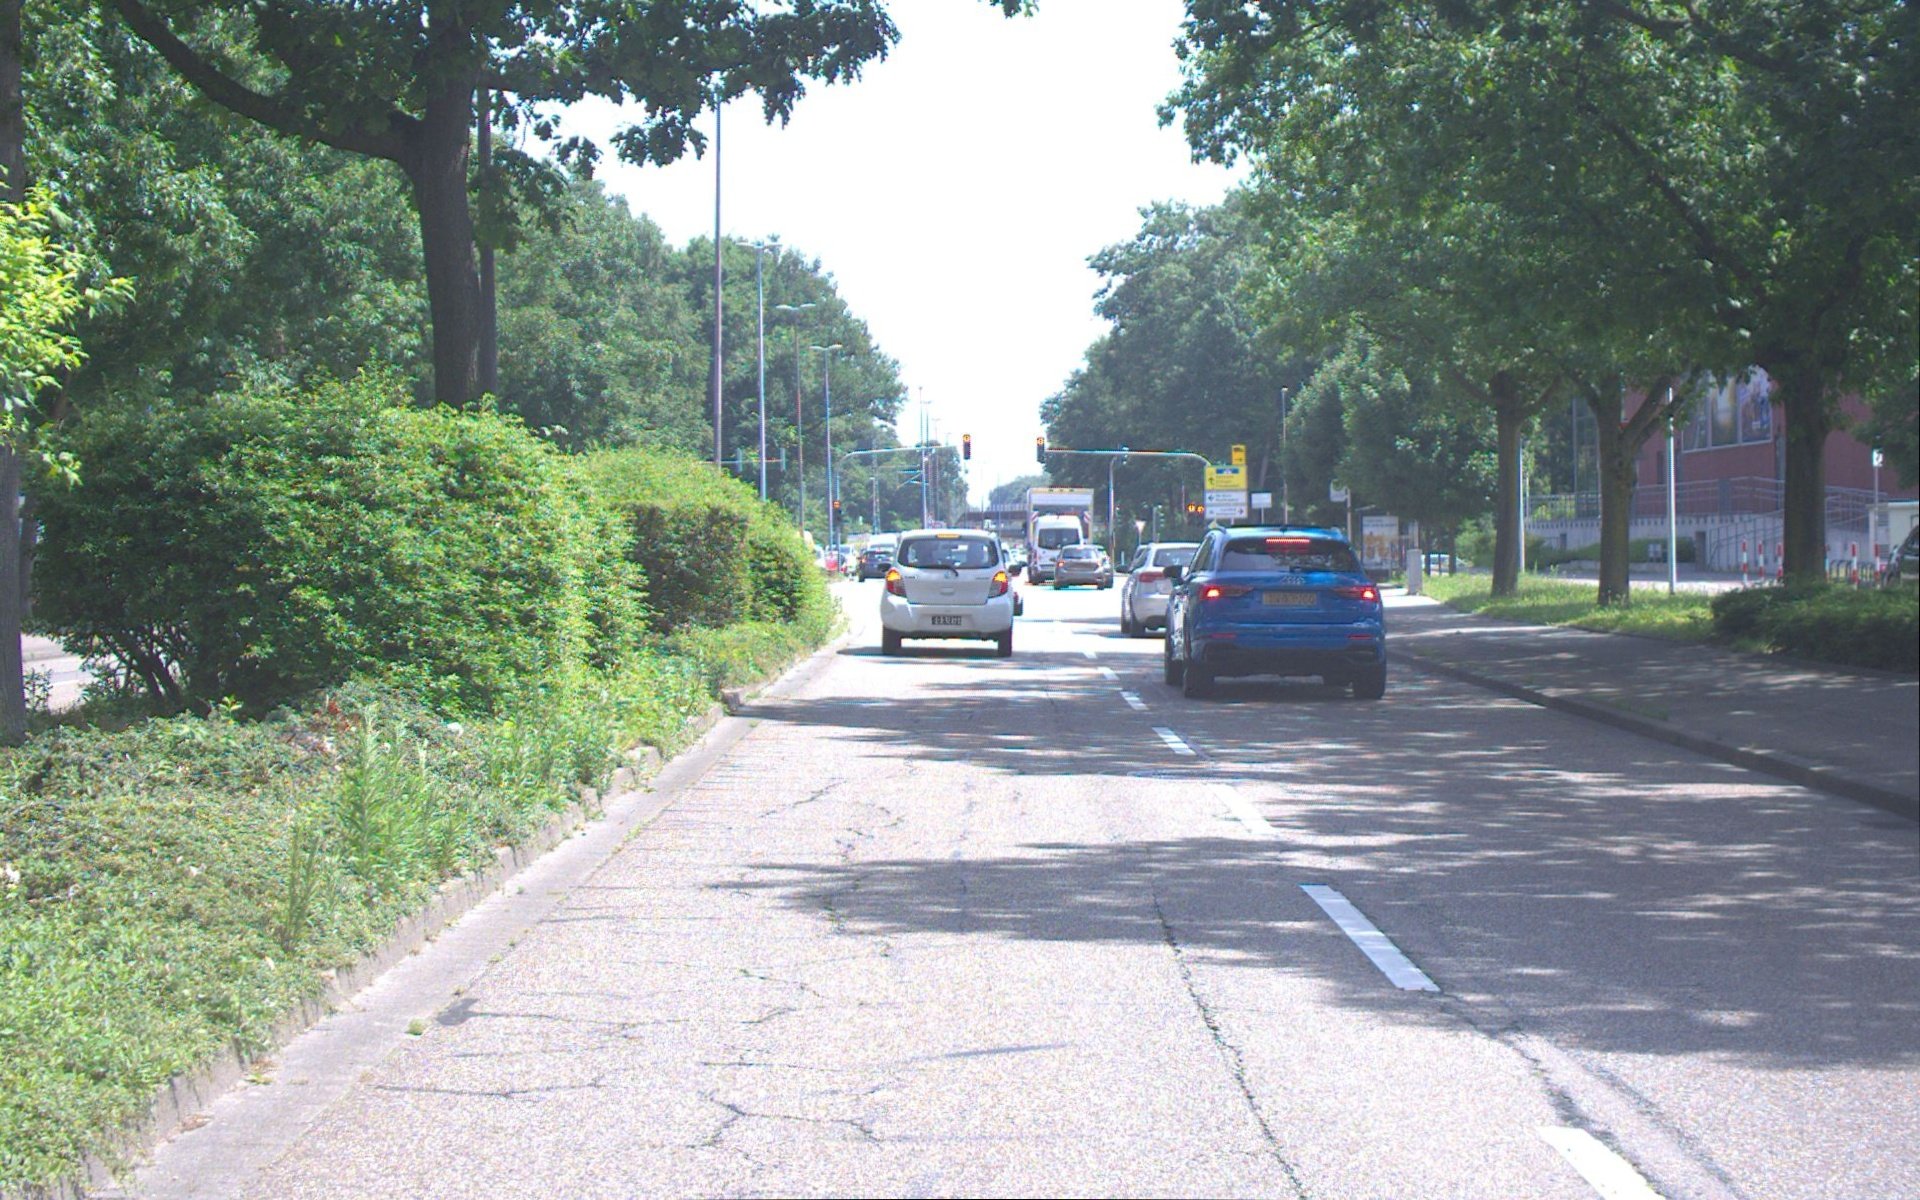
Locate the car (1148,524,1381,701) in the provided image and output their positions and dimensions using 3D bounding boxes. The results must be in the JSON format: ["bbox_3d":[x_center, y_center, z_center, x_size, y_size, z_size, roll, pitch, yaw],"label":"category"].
[{"bbox_3d":[2.840,0.096,32.919,1.808,1.587,4.349,0,0,0],"label":"car"}]

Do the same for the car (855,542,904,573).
[{"bbox_3d":[-3.436,-1.825,147.470,1.993,1.284,4.000,-1,1,0],"label":"car"}]

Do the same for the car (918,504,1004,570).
[{"bbox_3d":[0.005,-1.471,81.289,1.794,1.518,4.001,0,0,-4],"label":"car"}]

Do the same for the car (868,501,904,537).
[{"bbox_3d":[-4.321,-4.699,200.125,1.993,2.007,4.001,-1,1,-3],"label":"car"}]

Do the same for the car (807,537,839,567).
[{"bbox_3d":[-6.138,-2.135,153.721,1.368,1.304,2.694,-1,1,-2],"label":"car"}]

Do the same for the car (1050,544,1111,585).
[{"bbox_3d":[4.065,-1.223,116.443,1.865,1.305,4.000,-1,1,0],"label":"car"}]

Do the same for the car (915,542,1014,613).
[{"bbox_3d":[0.098,-0.449,67.559,1.885,1.349,4.000,0,0,1],"label":"car"}]

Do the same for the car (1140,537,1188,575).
[{"bbox_3d":[7.959,-1.738,134.535,1.633,1.459,4.000,-1,1,0],"label":"car"}]

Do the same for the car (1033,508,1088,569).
[{"bbox_3d":[3.837,-2.369,132.153,1.993,2.248,4.000,-1,1,0],"label":"car"}]

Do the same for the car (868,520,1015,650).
[{"bbox_3d":[-0.265,-0.192,42.730,1.638,1.547,3.325,0,0,-4],"label":"car"}]

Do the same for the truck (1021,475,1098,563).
[{"bbox_3d":[4.062,-3.352,142.617,2.932,3.490,9.158,-1,1,0],"label":"truck"}]

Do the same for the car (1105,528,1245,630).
[{"bbox_3d":[3.203,-0.320,51.897,1.865,1.468,4.000,0,0,0],"label":"car"}]

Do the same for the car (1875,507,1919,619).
[{"bbox_3d":[13.075,-0.476,44.102,1.701,1.420,4.653,0,0,4],"label":"car"}]
